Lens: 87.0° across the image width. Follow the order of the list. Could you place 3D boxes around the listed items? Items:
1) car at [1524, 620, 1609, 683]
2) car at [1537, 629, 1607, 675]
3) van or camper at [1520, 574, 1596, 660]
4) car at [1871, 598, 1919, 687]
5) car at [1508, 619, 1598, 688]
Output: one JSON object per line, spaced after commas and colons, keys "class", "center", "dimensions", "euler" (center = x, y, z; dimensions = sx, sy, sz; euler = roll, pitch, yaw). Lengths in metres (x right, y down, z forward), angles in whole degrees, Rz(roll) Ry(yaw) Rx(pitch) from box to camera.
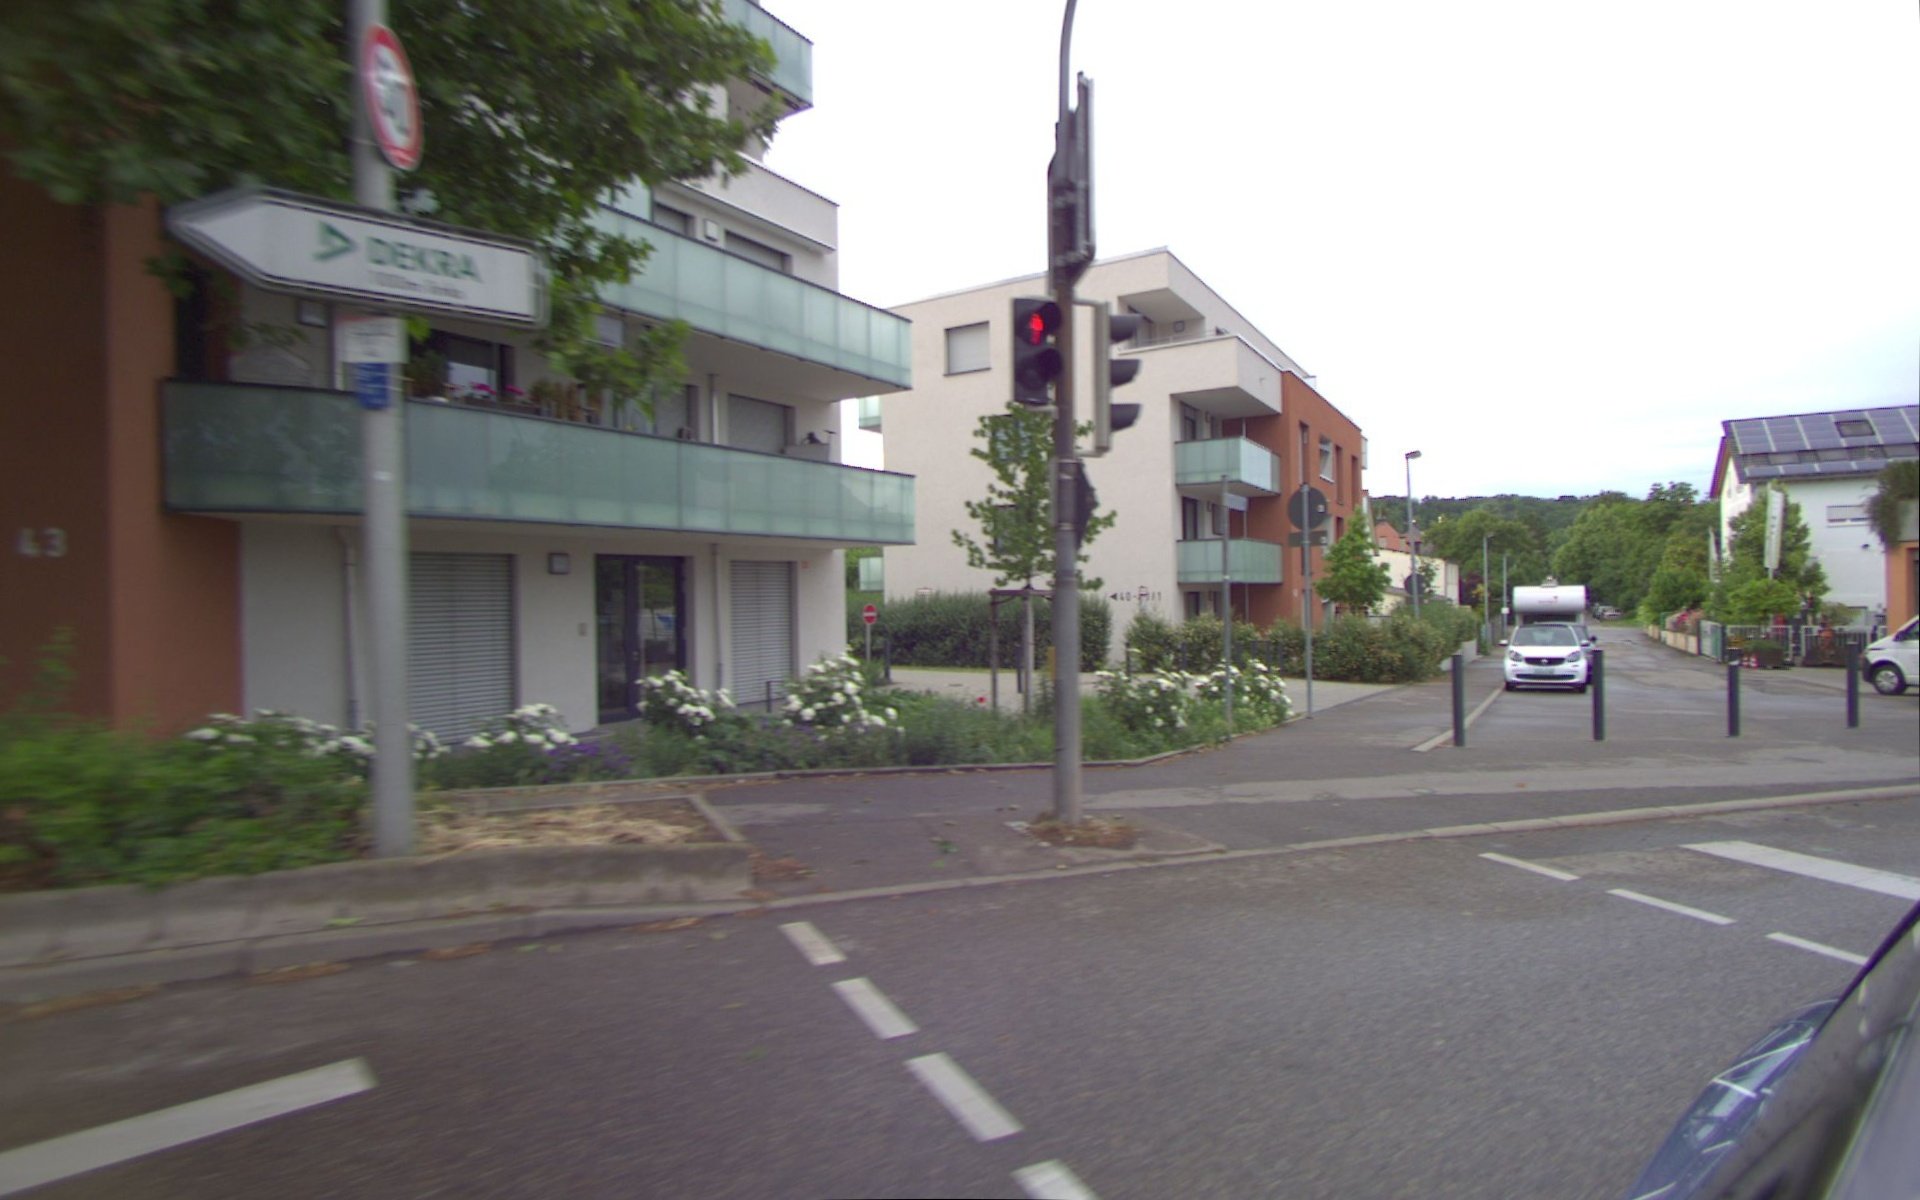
{"class": "car", "center": [16.582, 1.336, 27.670], "dimensions": [1.838, 1.562, 4.081], "euler": [-1, -1, 31]}
{"class": "car", "center": [19.498, 1.609, 32.260], "dimensions": [1.765, 1.270, 4.081], "euler": [-1, -1, 31]}
{"class": "van or camper", "center": [22.881, 0.664, 38.742], "dimensions": [2.307, 3.033, 5.883], "euler": [-1, -1, 31]}
{"class": "car", "center": [21.571, 0.894, 20.610], "dimensions": [1.959, 1.894, 4.141], "euler": [0, -1, -7]}
{"class": "car", "center": [13.888, 1.202, 23.776], "dimensions": [1.713, 1.491, 2.713], "euler": [-1, -1, 30]}
